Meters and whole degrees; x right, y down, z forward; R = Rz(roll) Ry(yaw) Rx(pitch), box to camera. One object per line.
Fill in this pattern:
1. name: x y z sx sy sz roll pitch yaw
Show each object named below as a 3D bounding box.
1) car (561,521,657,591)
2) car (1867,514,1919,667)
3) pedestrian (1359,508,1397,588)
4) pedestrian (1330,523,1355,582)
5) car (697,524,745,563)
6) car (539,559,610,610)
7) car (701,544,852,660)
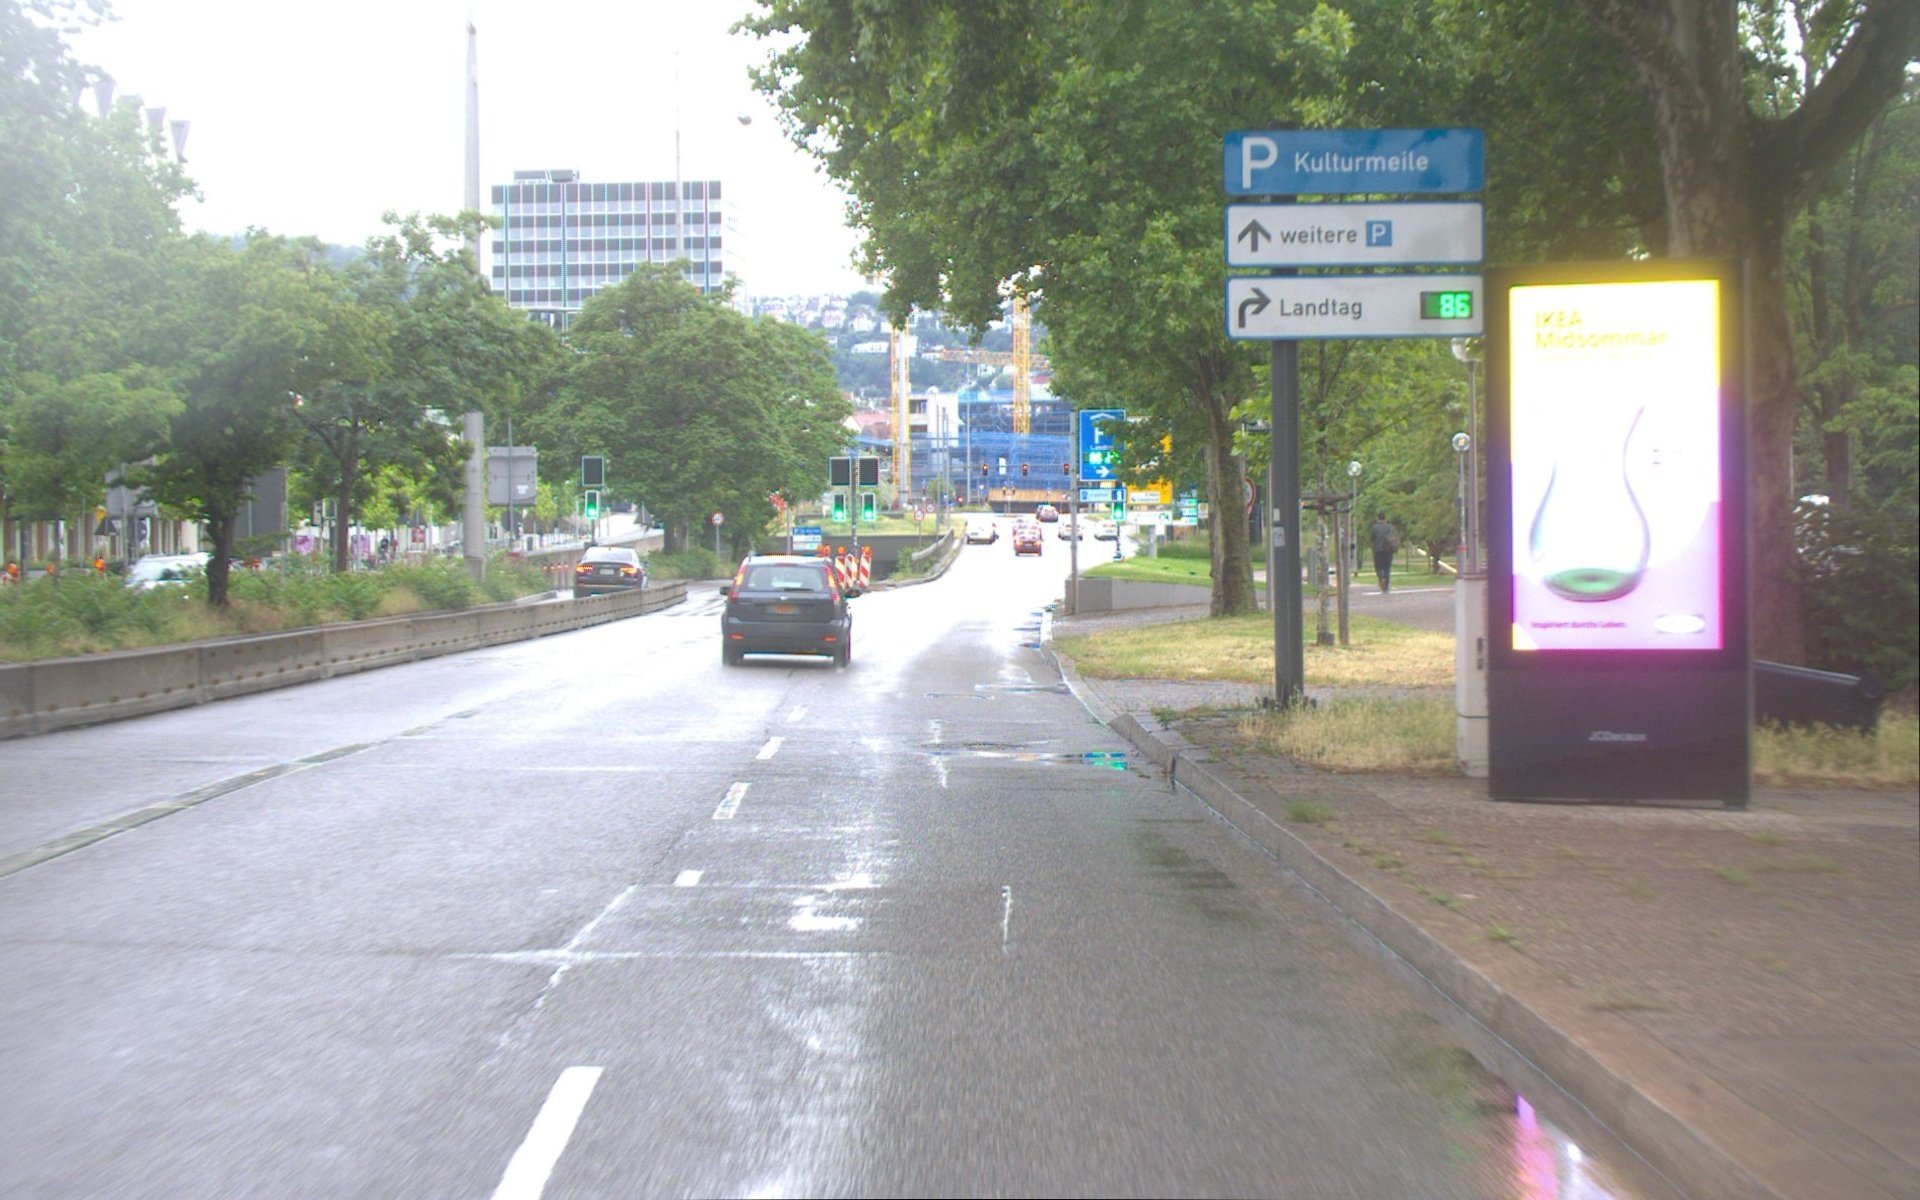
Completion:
1. car: -9.288 -1.185 91.302 1.993 1.775 4.000 -1 1 2
2. car: 11.157 -0.066 35.617 1.993 1.604 5.237 0 2 -2
3. pedestrian: 9.048 -1.128 74.494 0.705 1.712 0.692 -2 1 1
4. pedestrian: 11.486 -1.438 103.270 0.594 1.749 0.725 -2 1 -1
5. car: -10.094 -2.366 145.179 1.993 1.626 4.001 0 1 -4
6. car: -11.710 -0.488 104.651 1.754 1.447 4.000 2 1 -1
7. car: -2.463 0.026 45.440 1.843 1.411 3.840 -2 0 -5
